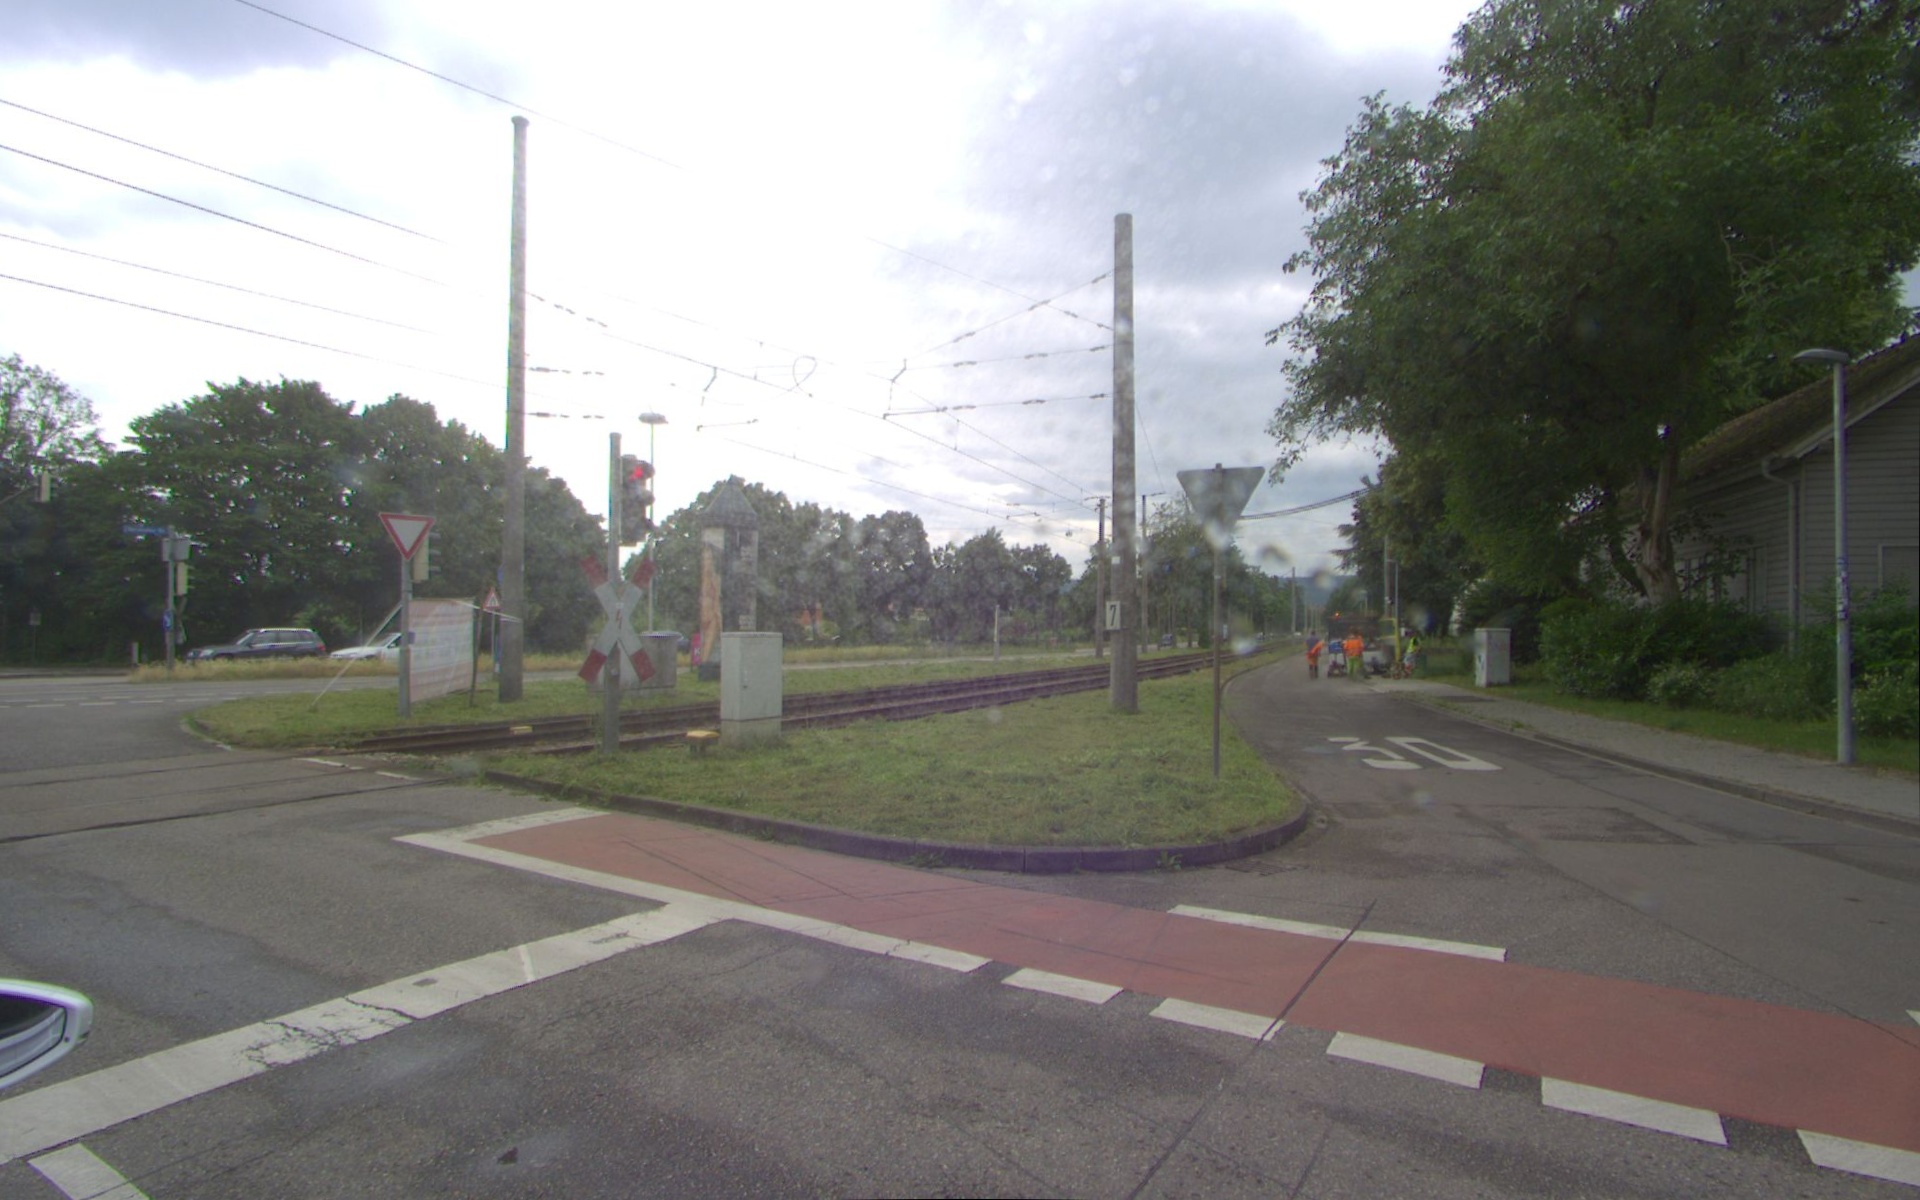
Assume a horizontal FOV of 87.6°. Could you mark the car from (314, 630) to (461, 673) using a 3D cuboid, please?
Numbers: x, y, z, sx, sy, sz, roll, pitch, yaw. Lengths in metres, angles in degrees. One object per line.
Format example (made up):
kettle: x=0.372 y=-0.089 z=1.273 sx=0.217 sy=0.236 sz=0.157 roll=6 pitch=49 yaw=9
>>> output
car: x=-19.746 y=1.763 z=34.710 sx=1.624 sy=1.374 sz=4.129 roll=0 pitch=-2 yaw=33

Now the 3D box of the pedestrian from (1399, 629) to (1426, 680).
pedestrian: x=16.553 y=1.984 z=36.660 sx=0.598 sy=1.864 sz=0.712 roll=1 pitch=-1 yaw=-13

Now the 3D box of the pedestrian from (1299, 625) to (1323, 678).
pedestrian: x=12.750 y=1.873 z=36.386 sx=0.757 sy=1.892 sz=0.604 roll=0 pitch=-1 yaw=17

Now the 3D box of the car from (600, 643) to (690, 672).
car: x=-16.805 y=3.033 z=53.644 sx=1.820 sy=1.458 sz=4.456 roll=0 pitch=-2 yaw=33

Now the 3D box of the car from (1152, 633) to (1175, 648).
car: x=24.564 y=4.898 z=120.790 sx=1.966 sy=1.743 sz=3.992 roll=-1 pitch=-2 yaw=21

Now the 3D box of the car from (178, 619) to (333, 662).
car: x=-26.514 y=1.525 z=37.835 sx=1.820 sy=1.523 sz=4.456 roll=0 pitch=-2 yaw=33

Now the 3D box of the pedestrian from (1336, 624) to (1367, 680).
pedestrian: x=13.400 y=1.758 z=34.274 sx=0.862 sy=1.878 sz=0.676 roll=1 pitch=-1 yaw=34
